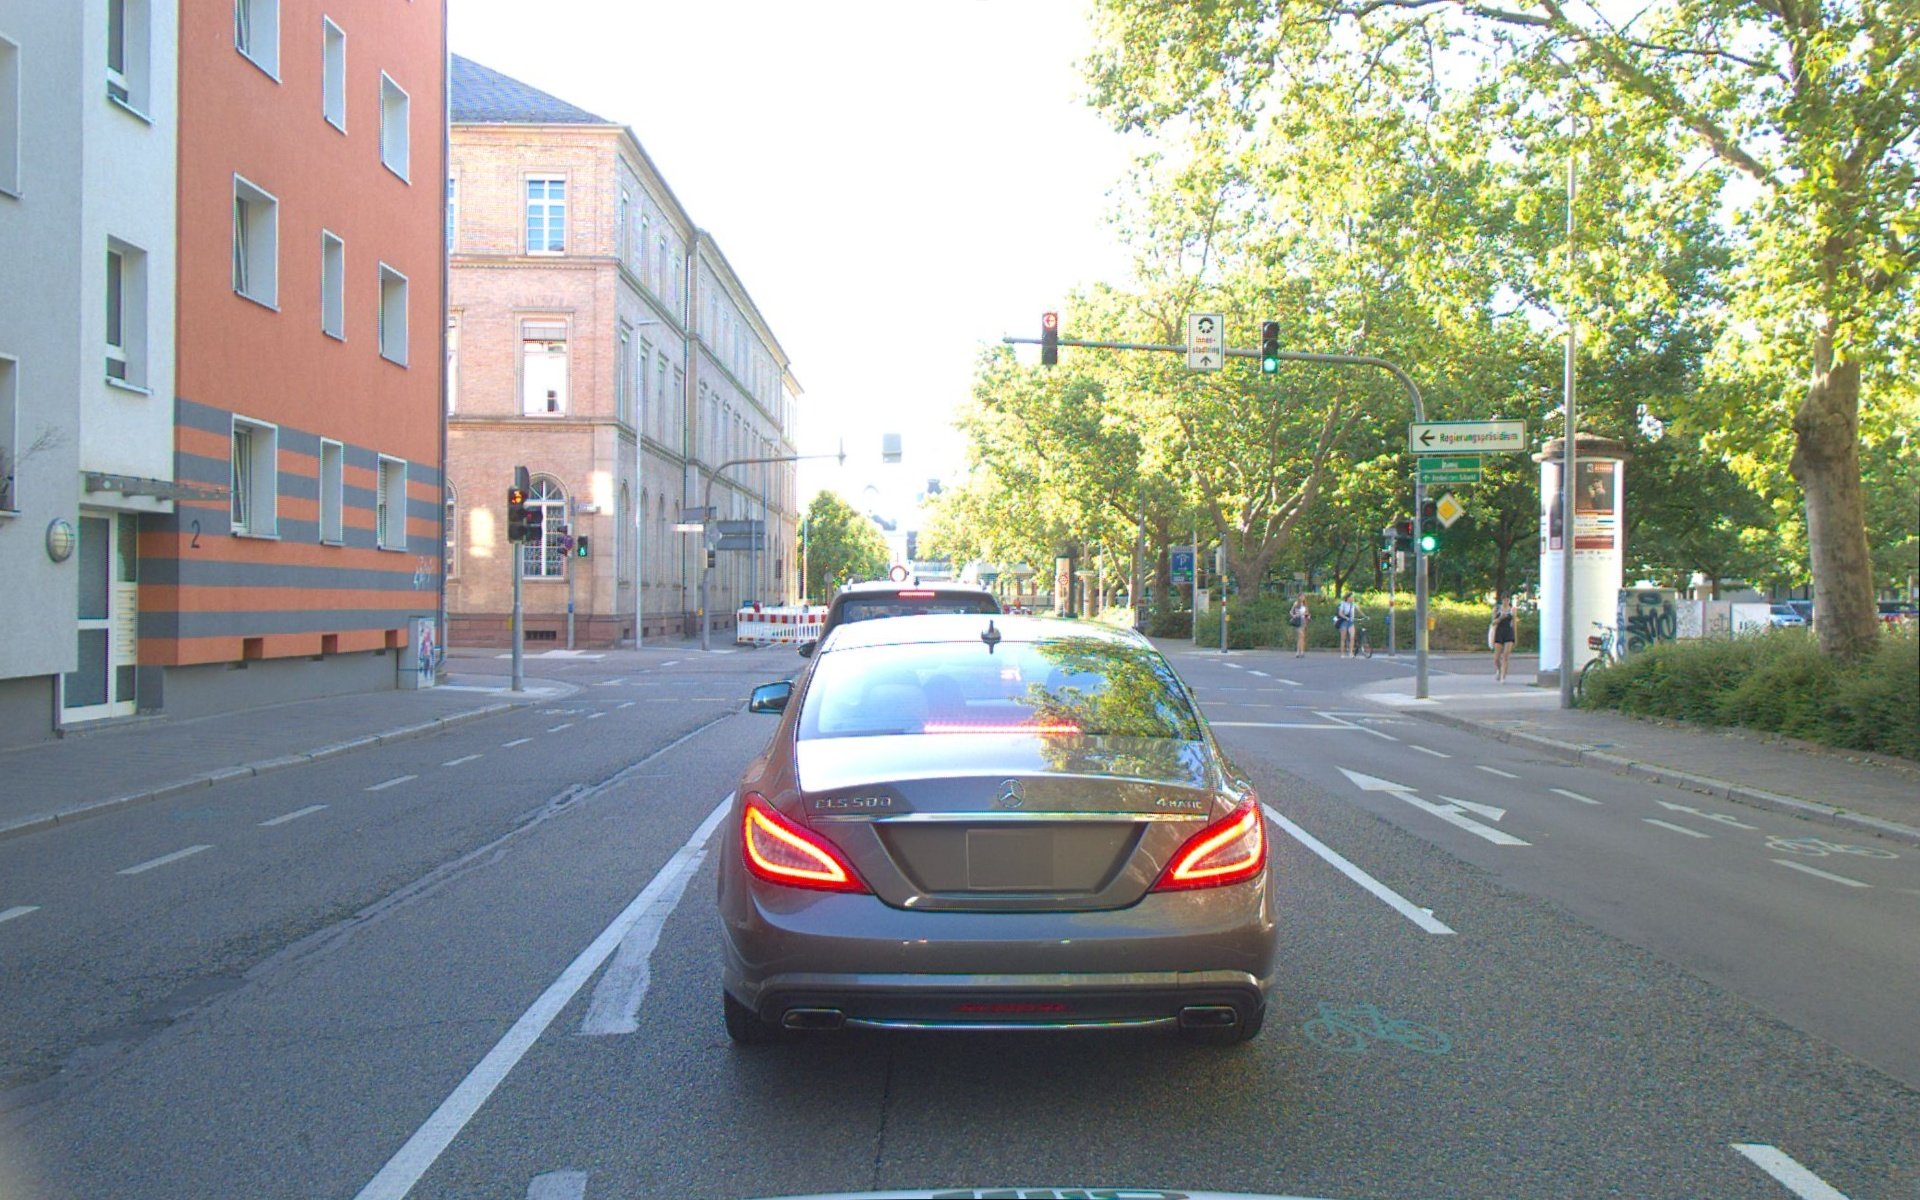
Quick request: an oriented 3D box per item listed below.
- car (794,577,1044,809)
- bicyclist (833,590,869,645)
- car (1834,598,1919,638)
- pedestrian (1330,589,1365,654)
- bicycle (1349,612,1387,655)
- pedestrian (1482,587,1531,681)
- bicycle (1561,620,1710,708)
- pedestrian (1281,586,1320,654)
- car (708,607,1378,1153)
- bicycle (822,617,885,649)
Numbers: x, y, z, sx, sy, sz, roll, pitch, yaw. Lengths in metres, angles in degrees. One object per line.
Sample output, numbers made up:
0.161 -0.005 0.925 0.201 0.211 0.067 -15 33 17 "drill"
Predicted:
-0.264 0.668 13.732 1.772 1.641 4.000 0 0 1 "car"
-3.176 0.515 48.278 0.798 1.586 0.642 1 -1 -36 "bicyclist"
36.269 0.706 65.159 1.596 1.508 3.794 1 0 -2 "car"
10.541 0.585 45.016 0.669 1.727 0.970 1 0 -4 "pedestrian"
11.055 0.889 44.805 0.514 1.119 1.740 1 0 -3 "bicycle"
9.834 0.609 29.777 0.781 1.659 0.908 -1 -1 16 "pedestrian"
9.699 0.914 23.771 1.936 1.210 0.528 1 -1 -2 "bicycle"
9.247 0.550 44.998 0.719 1.840 0.906 0 -1 -12 "pedestrian"
0.128 0.775 6.741 1.806 1.454 4.514 1 0 -3 "car"
-3.107 0.974 48.357 1.847 0.906 0.542 1 -1 -37 "bicycle"
